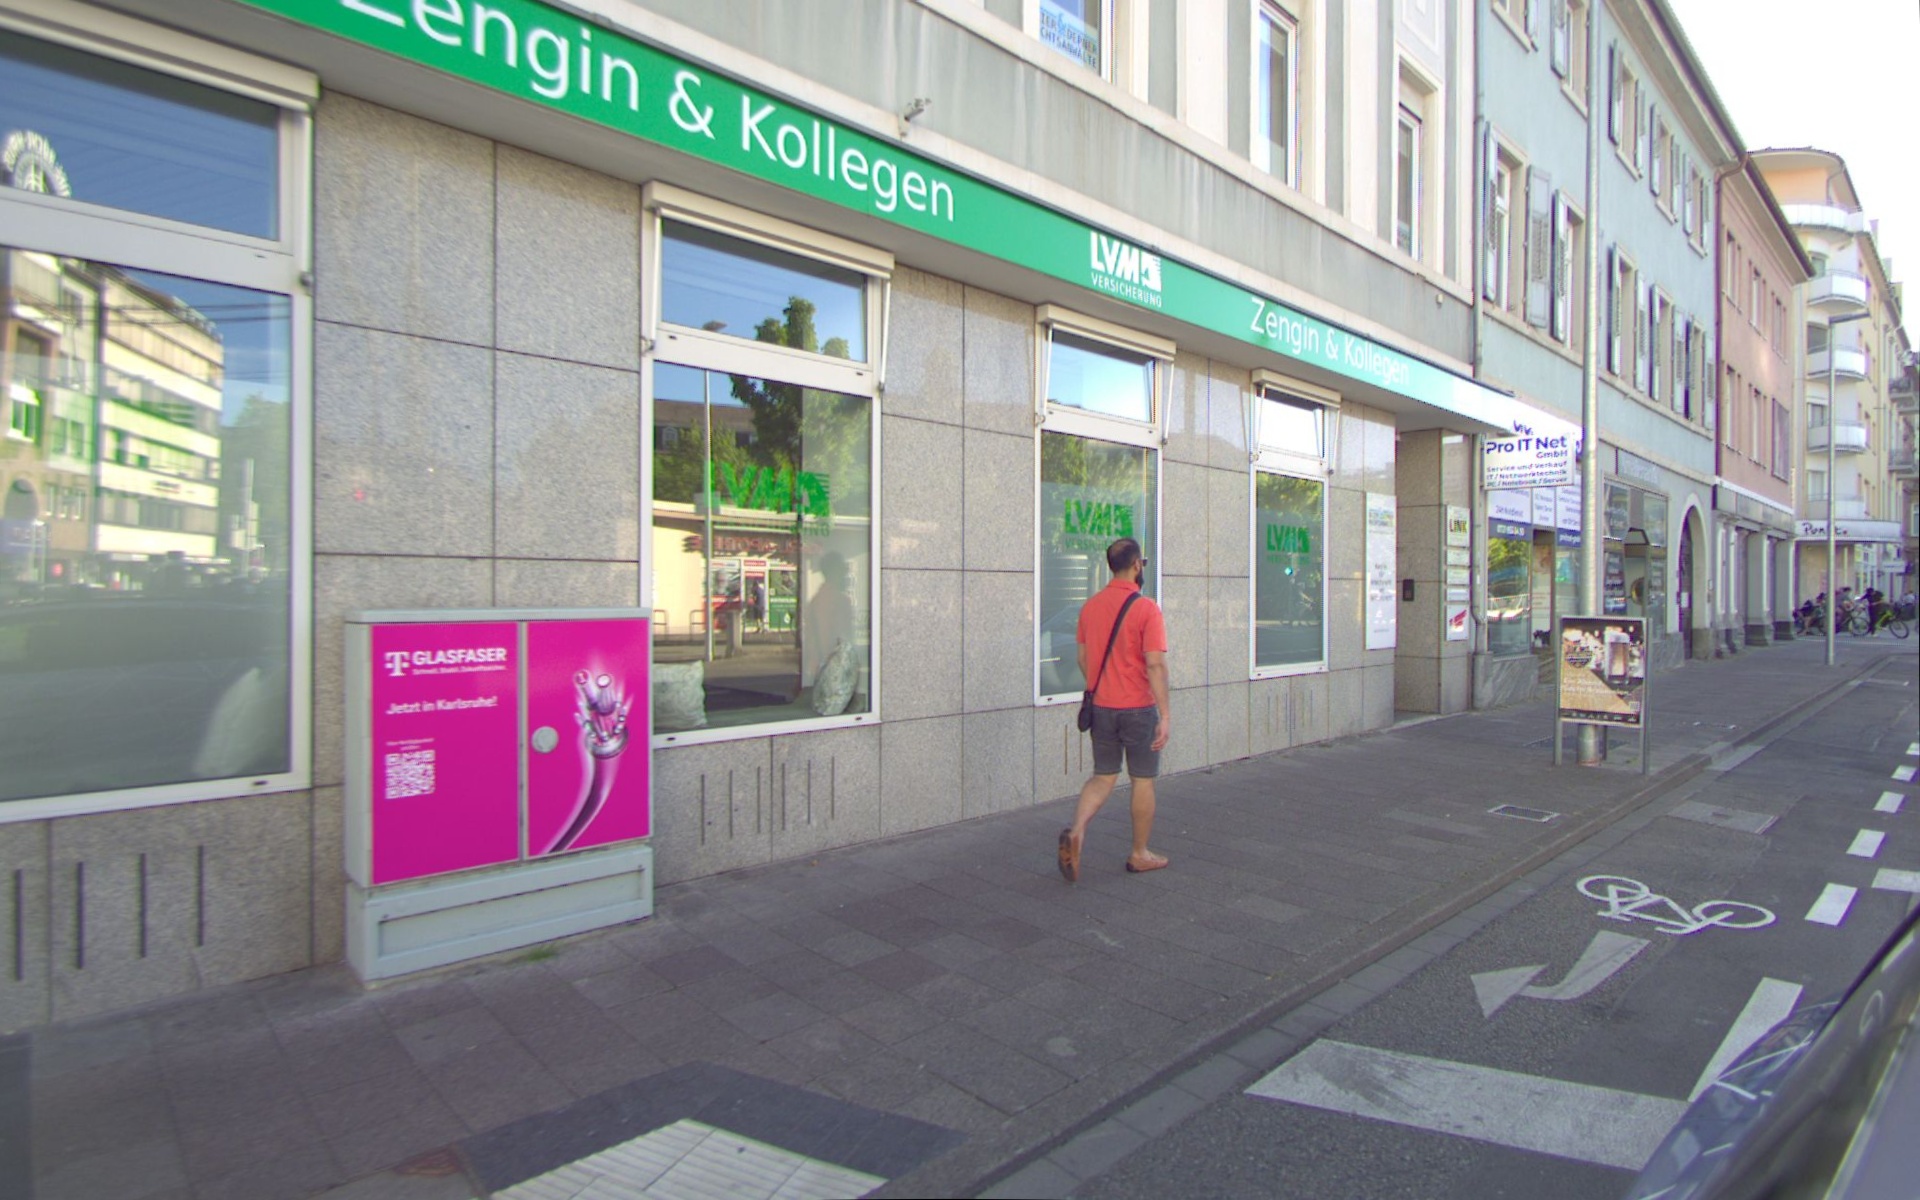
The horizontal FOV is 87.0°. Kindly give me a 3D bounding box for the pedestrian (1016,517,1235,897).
[{"bbox_3d":[0.846,0.478,5.153,0.896,1.724,0.691,0,1,-42],"label":"pedestrian"}]

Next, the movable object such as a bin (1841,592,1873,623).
[{"bbox_3d":[33.191,0.295,37.442,0.610,1.126,0.808,-1,-1,-44],"label":"movable object such as a bin"}]

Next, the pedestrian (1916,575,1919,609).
[{"bbox_3d":[56.078,-0.476,58.831,0.671,1.978,0.605,-1,-1,44],"label":"pedestrian"}]

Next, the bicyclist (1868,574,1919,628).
[{"bbox_3d":[30.573,0.027,33.046,0.711,1.706,1.134,0,0,-15],"label":"bicyclist"}]

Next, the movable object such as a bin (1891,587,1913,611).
[{"bbox_3d":[45.725,-0.061,49.131,0.944,1.175,0.702,0,0,-43],"label":"movable object such as a bin"}]

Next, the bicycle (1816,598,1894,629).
[{"bbox_3d":[29.422,0.445,33.286,1.803,1.006,0.560,-1,0,26],"label":"bicycle"}]

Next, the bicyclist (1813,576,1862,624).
[{"bbox_3d":[29.801,-0.007,34.369,0.711,1.603,1.032,0,0,-21],"label":"bicyclist"}]

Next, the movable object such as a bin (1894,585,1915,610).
[{"bbox_3d":[46.974,-0.115,50.341,0.944,1.255,0.702,0,0,-43],"label":"movable object such as a bin"}]

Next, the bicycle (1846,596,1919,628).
[{"bbox_3d":[30.549,0.386,33.432,0.548,1.032,1.919,0,0,-15],"label":"bicycle"}]

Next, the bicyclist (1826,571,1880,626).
[{"bbox_3d":[29.381,-0.055,33.317,1.129,1.783,0.747,-1,0,26],"label":"bicyclist"}]

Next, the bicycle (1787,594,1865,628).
[{"bbox_3d":[29.613,0.368,34.636,0.718,1.110,1.923,0,0,-21],"label":"bicycle"}]
